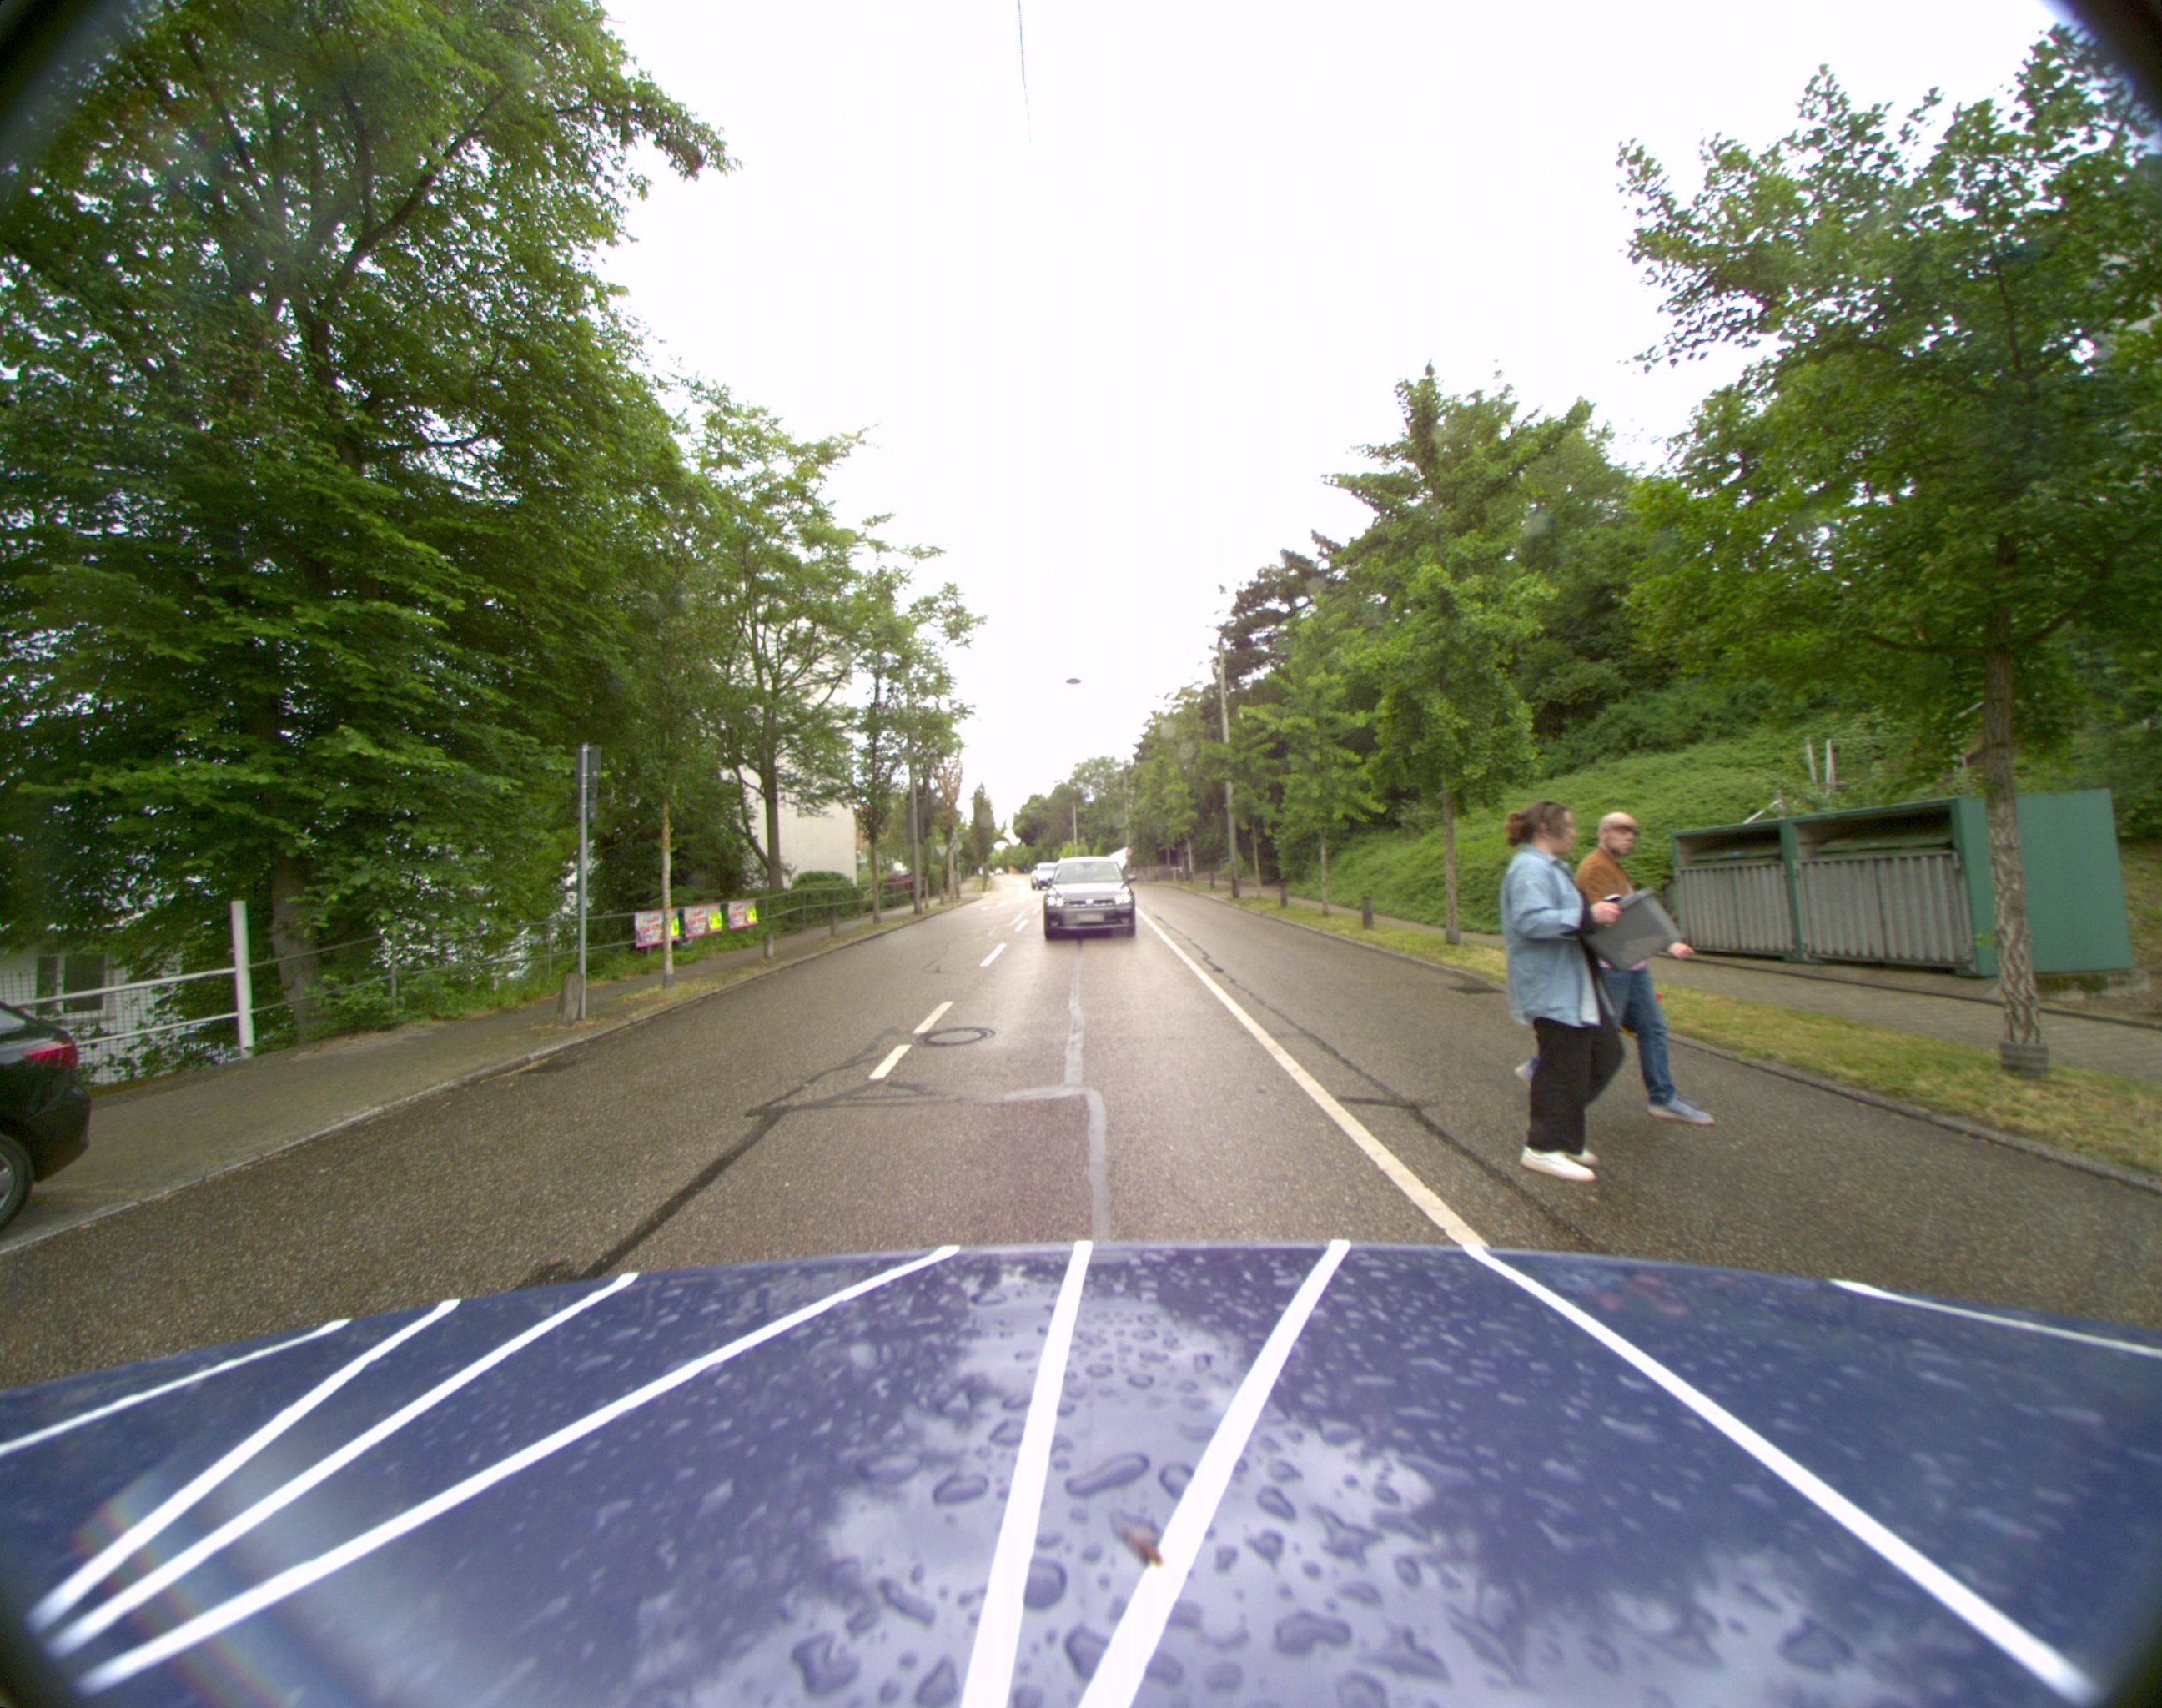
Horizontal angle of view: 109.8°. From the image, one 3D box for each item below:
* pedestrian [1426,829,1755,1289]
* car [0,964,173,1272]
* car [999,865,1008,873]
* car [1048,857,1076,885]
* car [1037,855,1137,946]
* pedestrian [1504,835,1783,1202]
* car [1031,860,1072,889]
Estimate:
[{"bbox_3d":[2.324,0.815,3.567,1.071,1.772,0.826,-4,1,33],"label":"pedestrian"},{"bbox_3d":[-6.337,1.377,2.237,1.999,1.426,4.442,-1,0,-1],"label":"car"},{"bbox_3d":[-17.304,3.262,170.008,1.892,1.710,4.236,-1,1,-2],"label":"car"},{"bbox_3d":[-1.563,1.348,61.155,1.835,2.003,4.055,-3,1,-5],"label":"car"},{"bbox_3d":[0.144,0.897,16.709,1.834,1.608,4.292,-3,1,1],"label":"car"},{"bbox_3d":[3.179,0.793,4.340,0.826,1.772,1.070,-2,1,-35],"label":"pedestrian"},{"bbox_3d":[-1.896,1.274,48.092,1.836,1.608,4.346,-3,1,-12],"label":"car"}]
